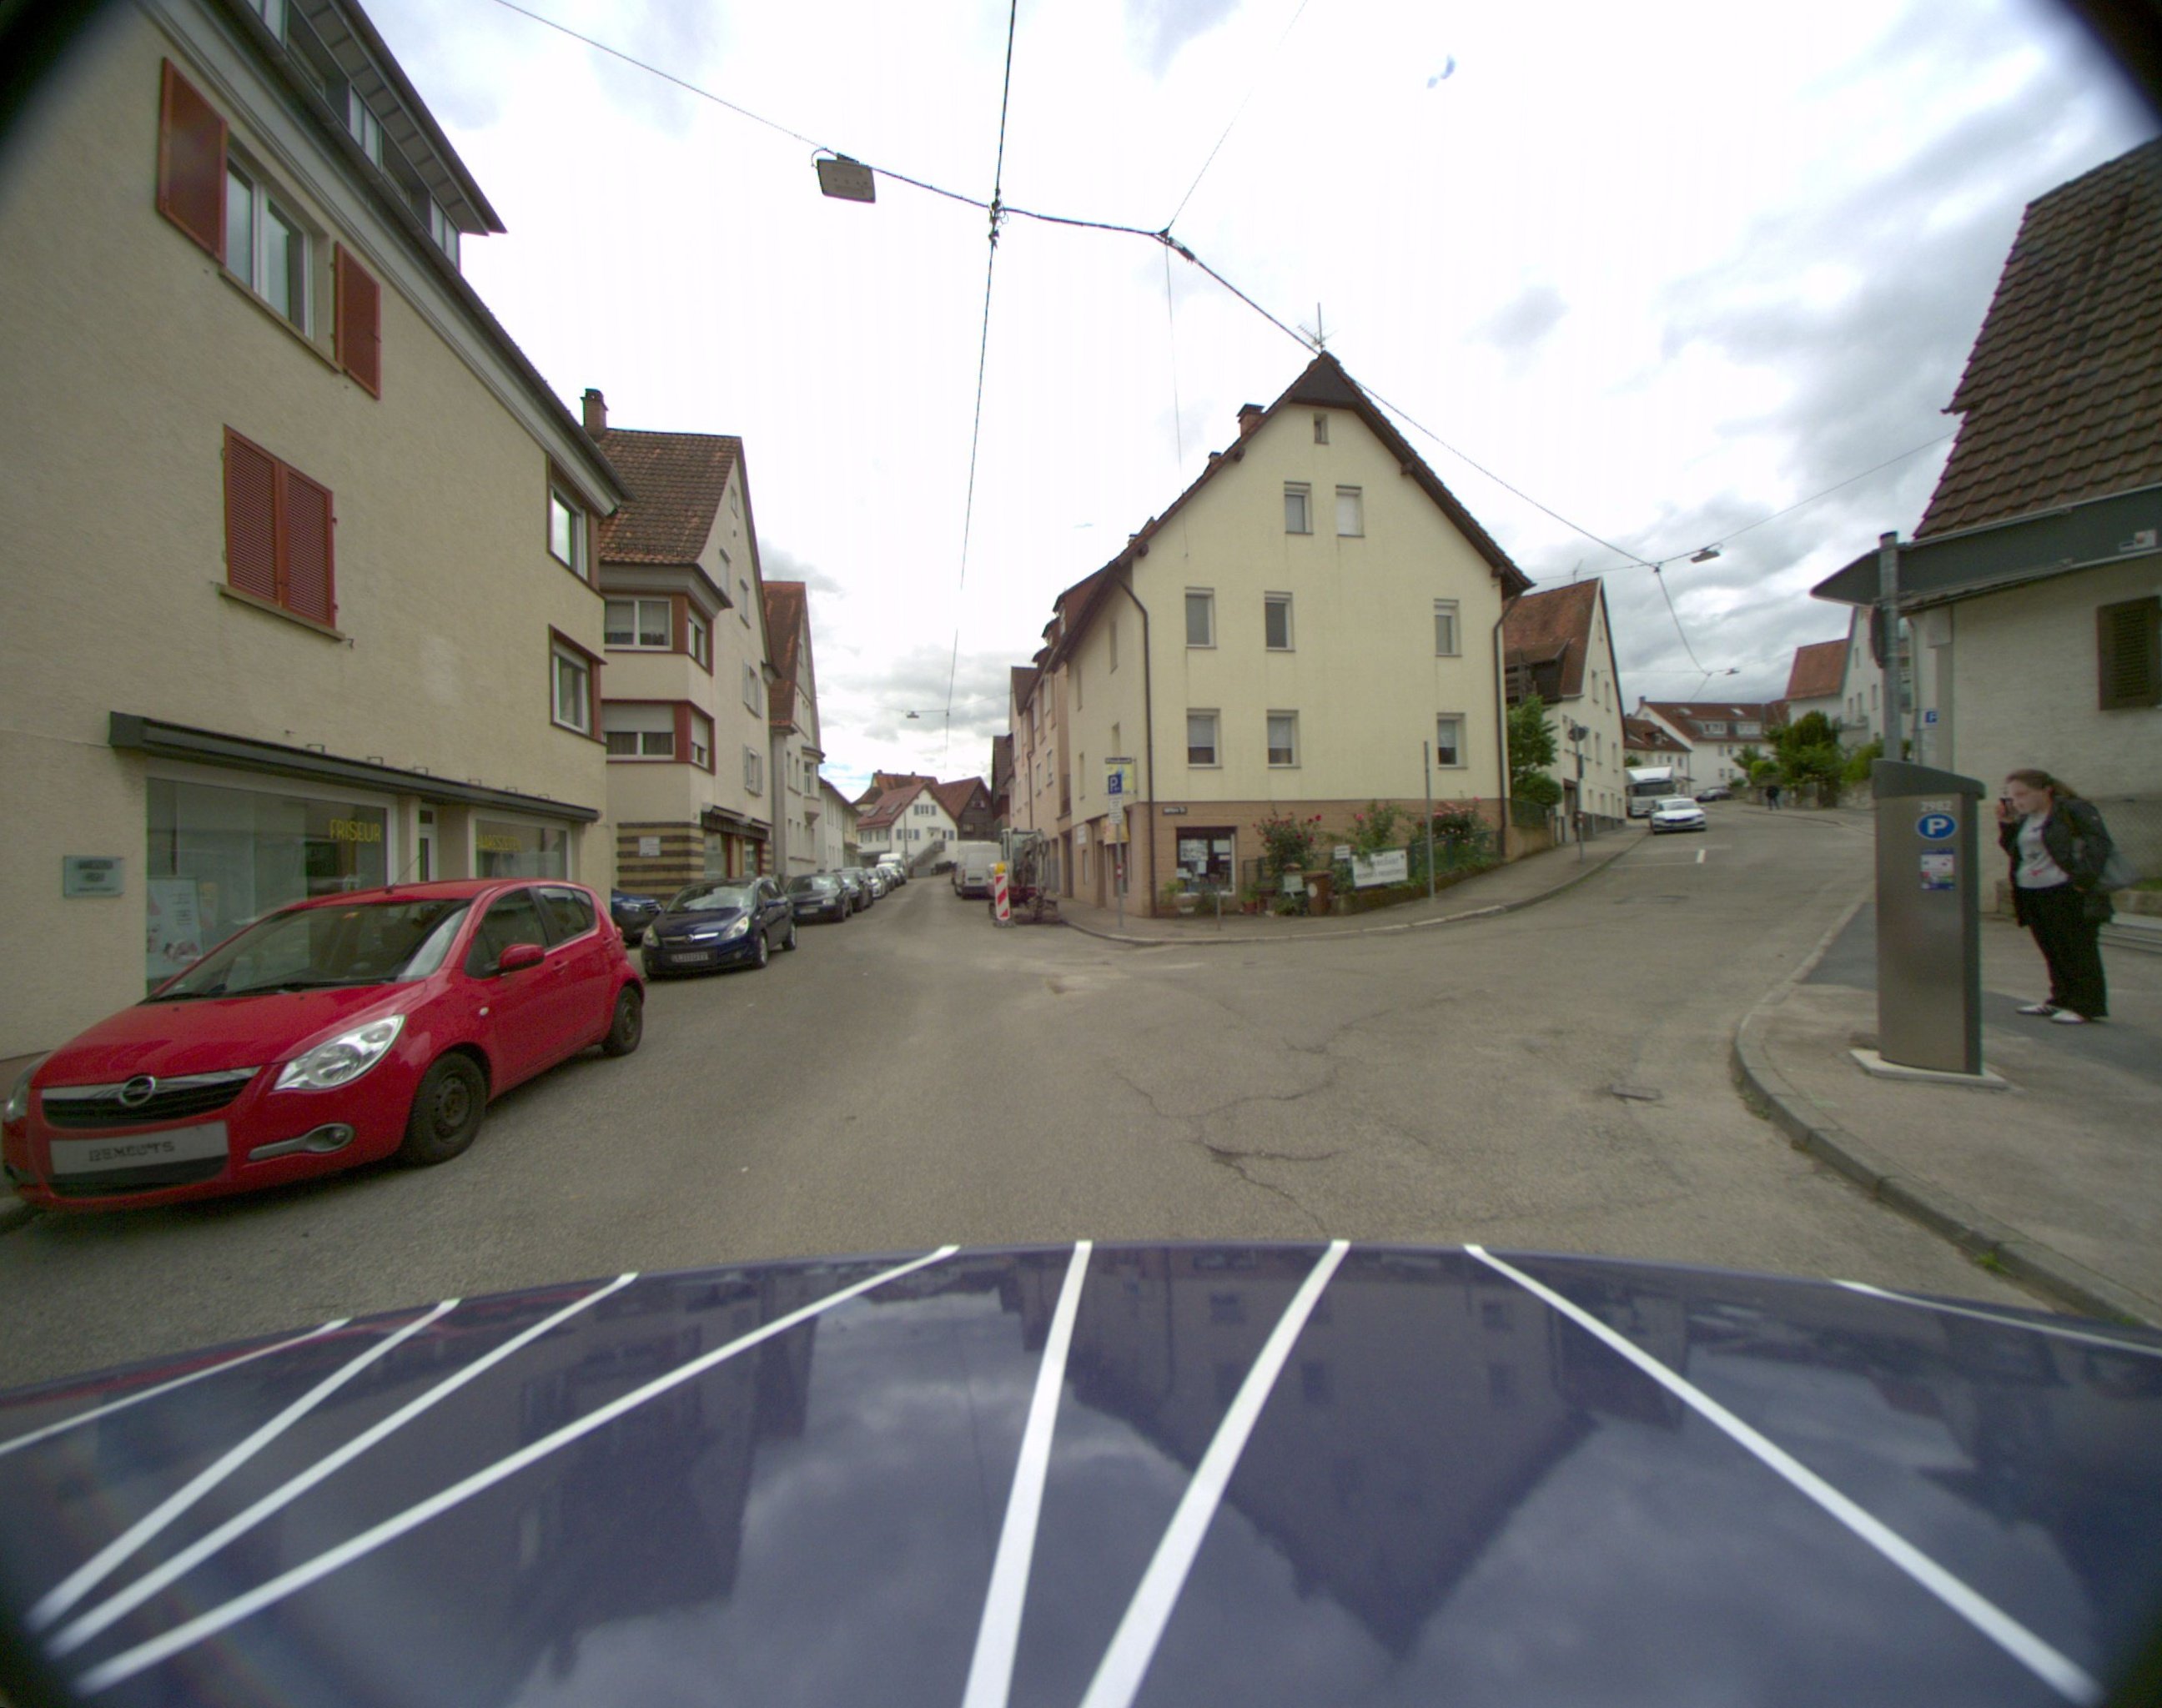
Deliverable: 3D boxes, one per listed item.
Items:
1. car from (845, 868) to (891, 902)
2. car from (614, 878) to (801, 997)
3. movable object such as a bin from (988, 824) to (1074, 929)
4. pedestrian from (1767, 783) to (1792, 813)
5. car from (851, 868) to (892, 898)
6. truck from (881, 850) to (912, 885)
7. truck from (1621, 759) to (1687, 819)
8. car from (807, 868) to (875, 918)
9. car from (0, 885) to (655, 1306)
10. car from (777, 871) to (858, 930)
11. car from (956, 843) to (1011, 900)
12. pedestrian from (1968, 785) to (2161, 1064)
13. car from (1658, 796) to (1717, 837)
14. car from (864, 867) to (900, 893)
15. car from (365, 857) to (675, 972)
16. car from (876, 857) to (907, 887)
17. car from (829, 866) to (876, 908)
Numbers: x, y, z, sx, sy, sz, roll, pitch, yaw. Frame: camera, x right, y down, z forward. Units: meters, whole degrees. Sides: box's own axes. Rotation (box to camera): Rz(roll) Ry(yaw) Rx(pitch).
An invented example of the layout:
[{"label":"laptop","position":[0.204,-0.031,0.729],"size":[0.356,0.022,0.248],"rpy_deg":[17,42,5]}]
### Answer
[{"label":"car","position":[-10.436,1.494,37.508],"size":[1.697,1.382,3.798],"rpy_deg":[-5,1,-10]},{"label":"car","position":[-6.019,1.239,12.774],"size":[1.697,1.441,3.916],"rpy_deg":[-5,1,-10]},{"label":"movable object such as a bin","position":[-1.479,0.550,20.547],"size":[1.573,2.485,4.669],"rpy_deg":[0,0,-13]},{"label":"pedestrian","position":[42.389,-3.406,46.121],"size":[0.841,1.668,0.978],"rpy_deg":[-5,2,33]},{"label":"car","position":[-11.470,1.548,41.838],"size":[1.697,1.382,3.710],"rpy_deg":[-5,1,-9]},{"label":"truck","position":[-14.835,1.052,61.376],"size":[1.827,2.580,4.776],"rpy_deg":[-5,1,-9]},{"label":"truck","position":[39.608,-4.378,52.735],"size":[2.678,3.576,8.118],"rpy_deg":[-5,1,32]},{"label":"car","position":[-8.548,1.334,27.367],"size":[1.697,1.441,4.100],"rpy_deg":[-5,1,-10]},{"label":"car","position":[-4.517,1.104,5.052],"size":[1.697,1.547,3.692],"rpy_deg":[-4,0,-10]},{"label":"car","position":[-7.634,1.291,22.338],"size":[1.697,1.395,3.997],"rpy_deg":[-4,0,-12]},{"label":"car","position":[-4.674,0.761,35.451],"size":[2.001,2.374,6.614],"rpy_deg":[0,0,-12]},{"label":"pedestrian","position":[6.476,0.429,4.925],"size":[0.648,1.675,0.604],"rpy_deg":[-4,1,6]},{"label":"car","position":[26.351,-1.673,33.127],"size":[1.796,1.437,4.304],"rpy_deg":[-5,2,37]},{"label":"car","position":[-12.361,1.574,47.378],"size":[1.697,1.382,3.710],"rpy_deg":[-5,1,-9]},{"label":"car","position":[-11.910,1.210,16.517],"size":[4.902,1.855,1.951],"rpy_deg":[-5,1,-10]},{"label":"car","position":[-13.925,1.315,56.009],"size":[1.697,1.992,4.090],"rpy_deg":[-5,1,-9]},{"label":"car","position":[-9.633,1.344,32.253],"size":[1.698,1.510,4.099],"rpy_deg":[-5,1,-15]}]
